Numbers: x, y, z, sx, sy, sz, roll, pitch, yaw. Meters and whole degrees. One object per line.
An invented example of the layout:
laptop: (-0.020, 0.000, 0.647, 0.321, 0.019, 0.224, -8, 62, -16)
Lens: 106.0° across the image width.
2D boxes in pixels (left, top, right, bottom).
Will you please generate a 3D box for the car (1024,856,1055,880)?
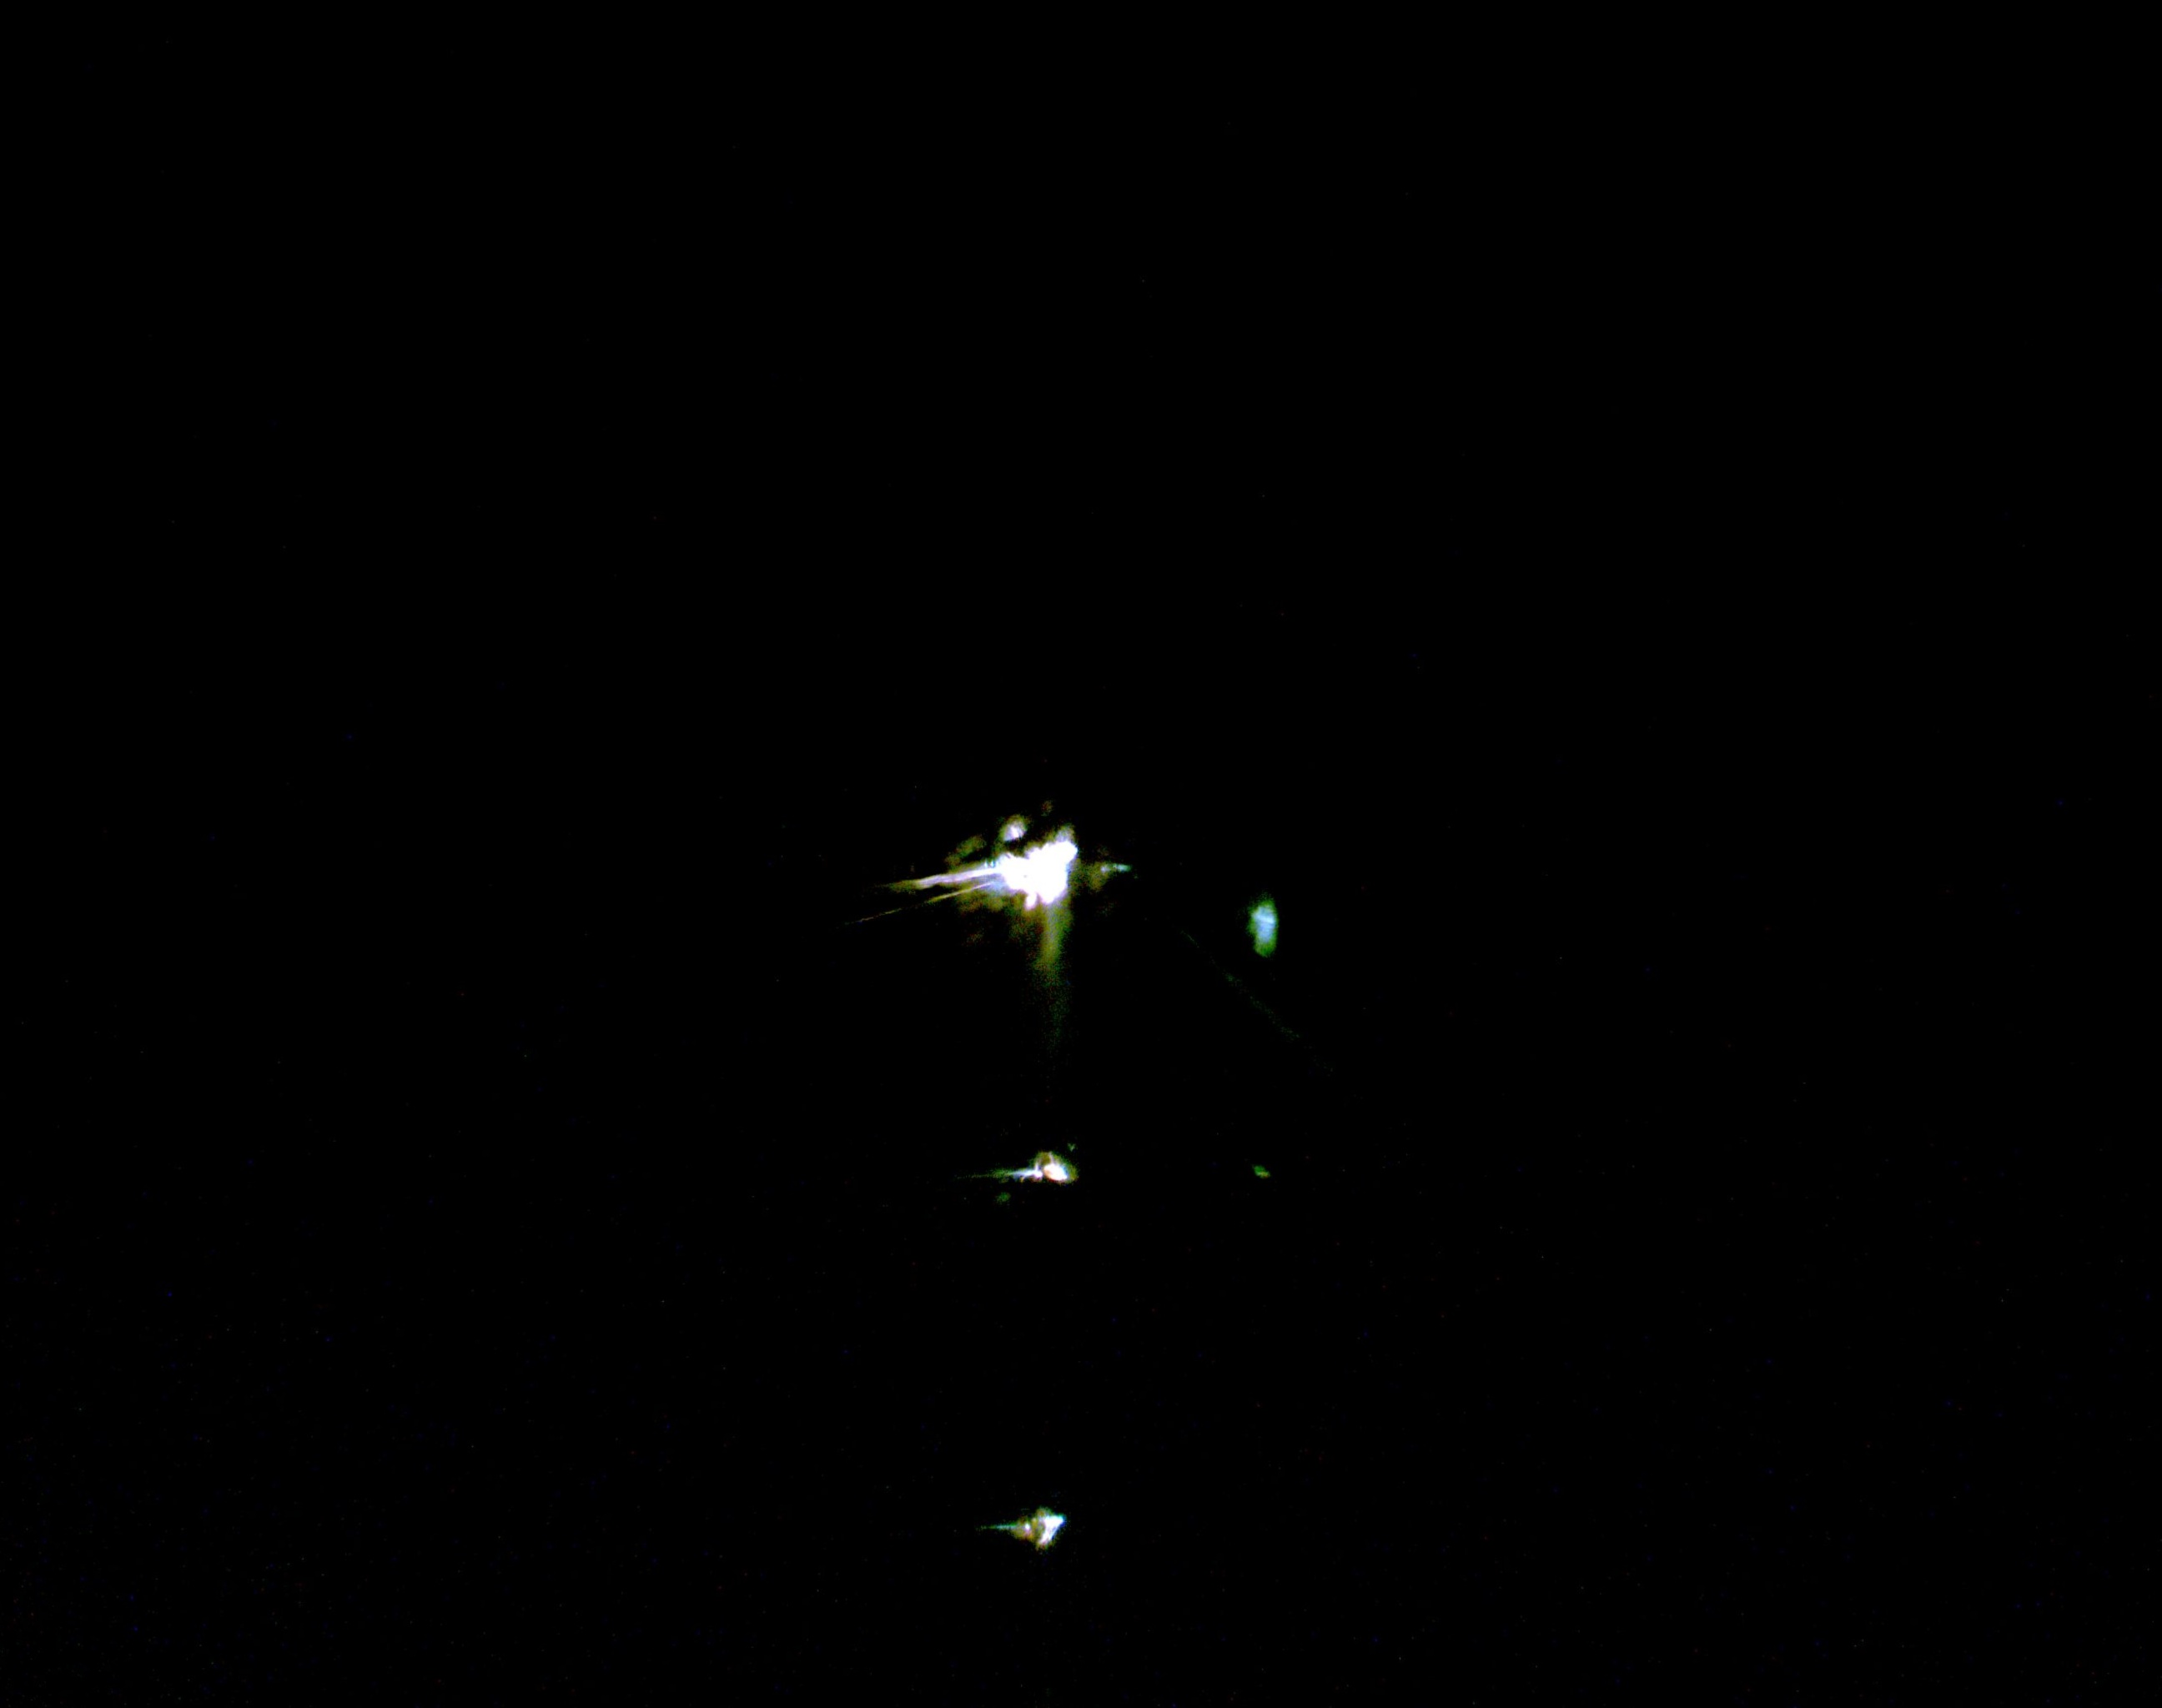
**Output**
car: (-2.992, 0.992, 59.277, 1.919, 1.574, 4.348, -1, 0, 1)
